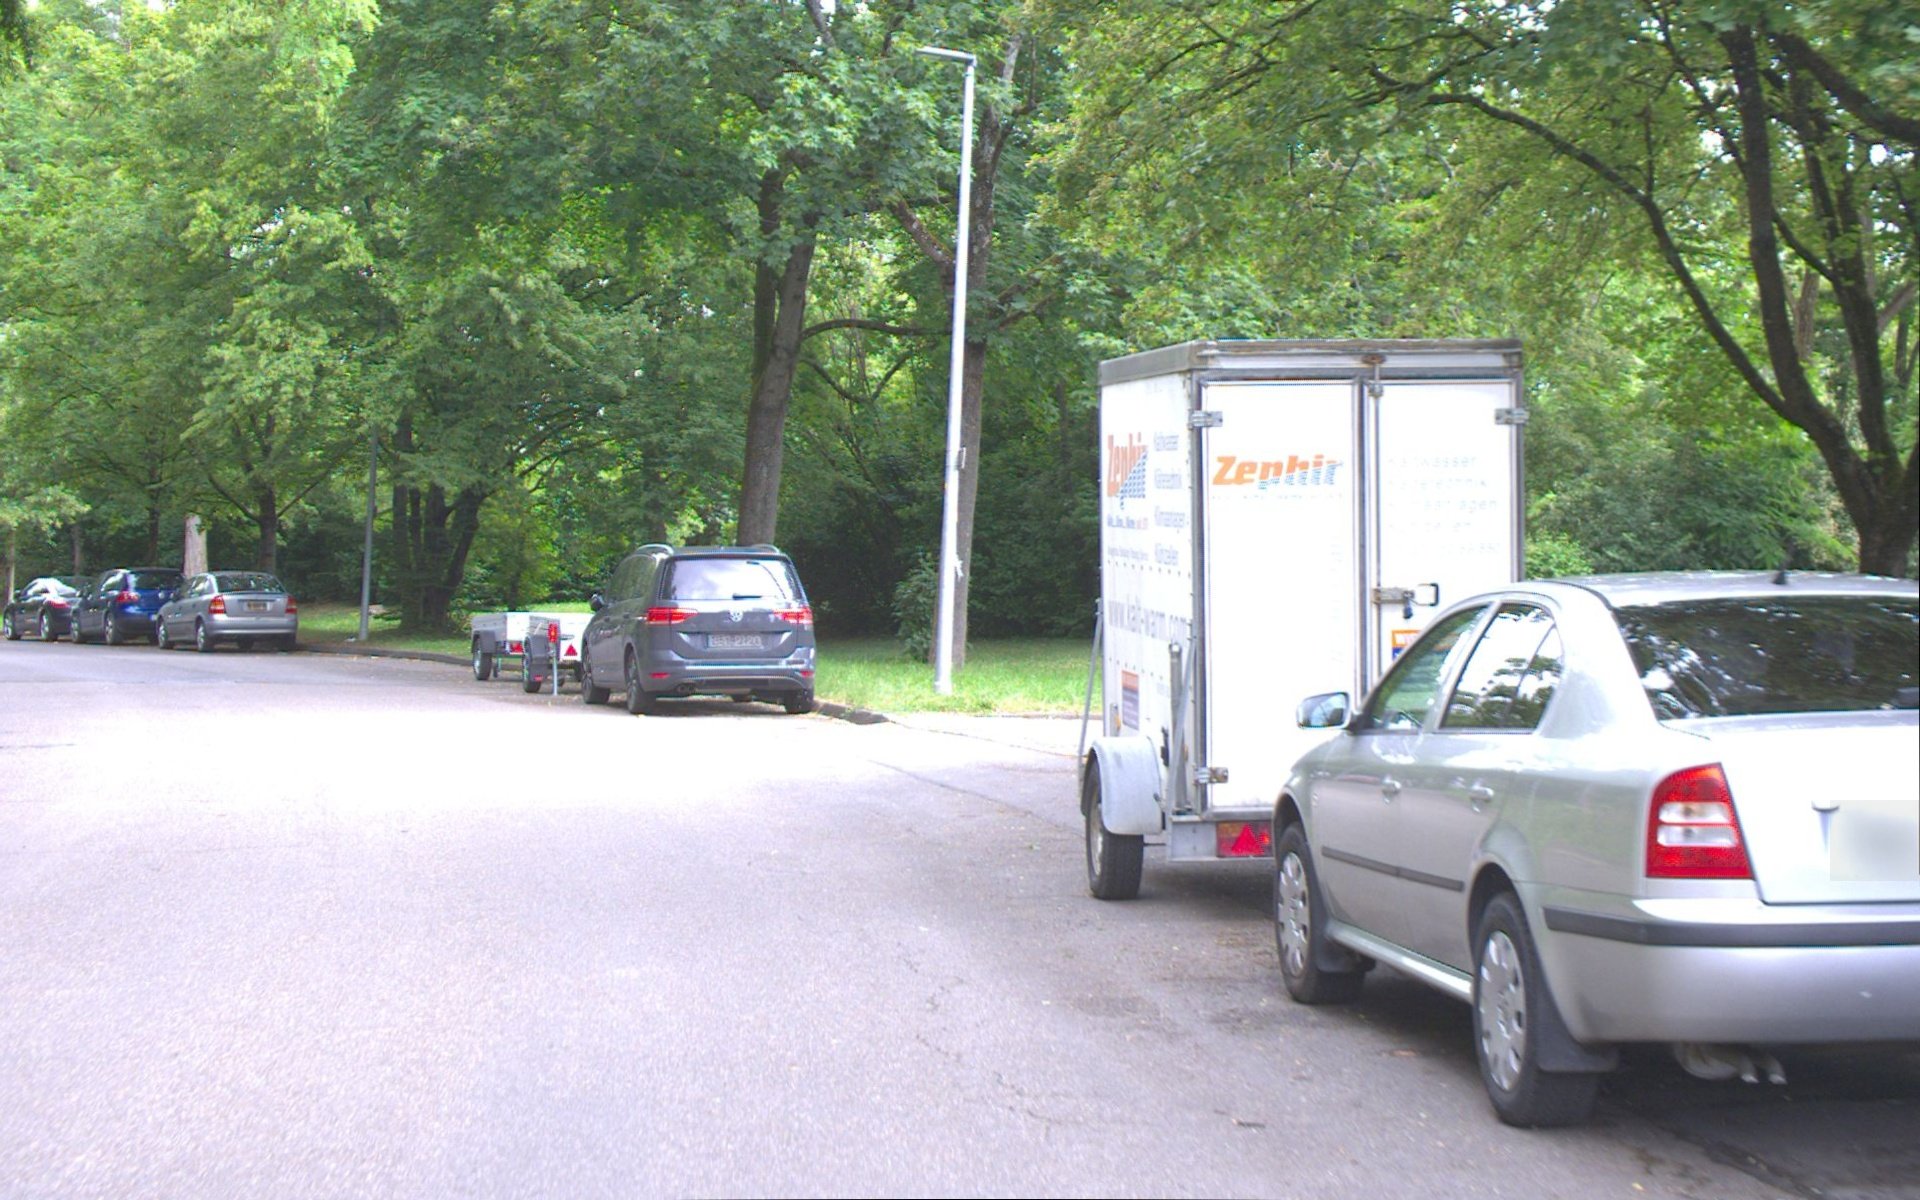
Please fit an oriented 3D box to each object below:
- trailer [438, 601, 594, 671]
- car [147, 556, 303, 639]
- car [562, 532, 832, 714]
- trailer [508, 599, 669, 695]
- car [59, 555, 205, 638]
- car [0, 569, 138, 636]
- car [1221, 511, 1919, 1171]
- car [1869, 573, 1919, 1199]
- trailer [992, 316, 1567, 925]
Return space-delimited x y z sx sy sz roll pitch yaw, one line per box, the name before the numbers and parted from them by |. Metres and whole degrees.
trailer | -5.837 0.480 44.976 1.363 0.845 3.279 2 -1 -19
car | -13.147 -0.031 61.331 1.717 1.427 3.949 0 0 -27
car | -2.724 0.215 34.520 1.775 1.657 4.842 2 0 -15
trailer | -4.401 0.532 40.394 1.357 0.965 3.894 2 1 -14
car | -16.255 -0.052 67.353 1.714 1.504 4.181 3 -2 -28
car | -18.659 0.049 71.477 1.750 1.332 4.415 1 -1 -32
car | 2.114 0.536 10.330 1.741 1.520 4.637 0 0 -7
car | 2.627 0.684 3.807 1.902 1.471 4.059 2 -1 -4
trailer | 1.307 0.055 15.687 1.760 2.418 3.888 0 1 -8
